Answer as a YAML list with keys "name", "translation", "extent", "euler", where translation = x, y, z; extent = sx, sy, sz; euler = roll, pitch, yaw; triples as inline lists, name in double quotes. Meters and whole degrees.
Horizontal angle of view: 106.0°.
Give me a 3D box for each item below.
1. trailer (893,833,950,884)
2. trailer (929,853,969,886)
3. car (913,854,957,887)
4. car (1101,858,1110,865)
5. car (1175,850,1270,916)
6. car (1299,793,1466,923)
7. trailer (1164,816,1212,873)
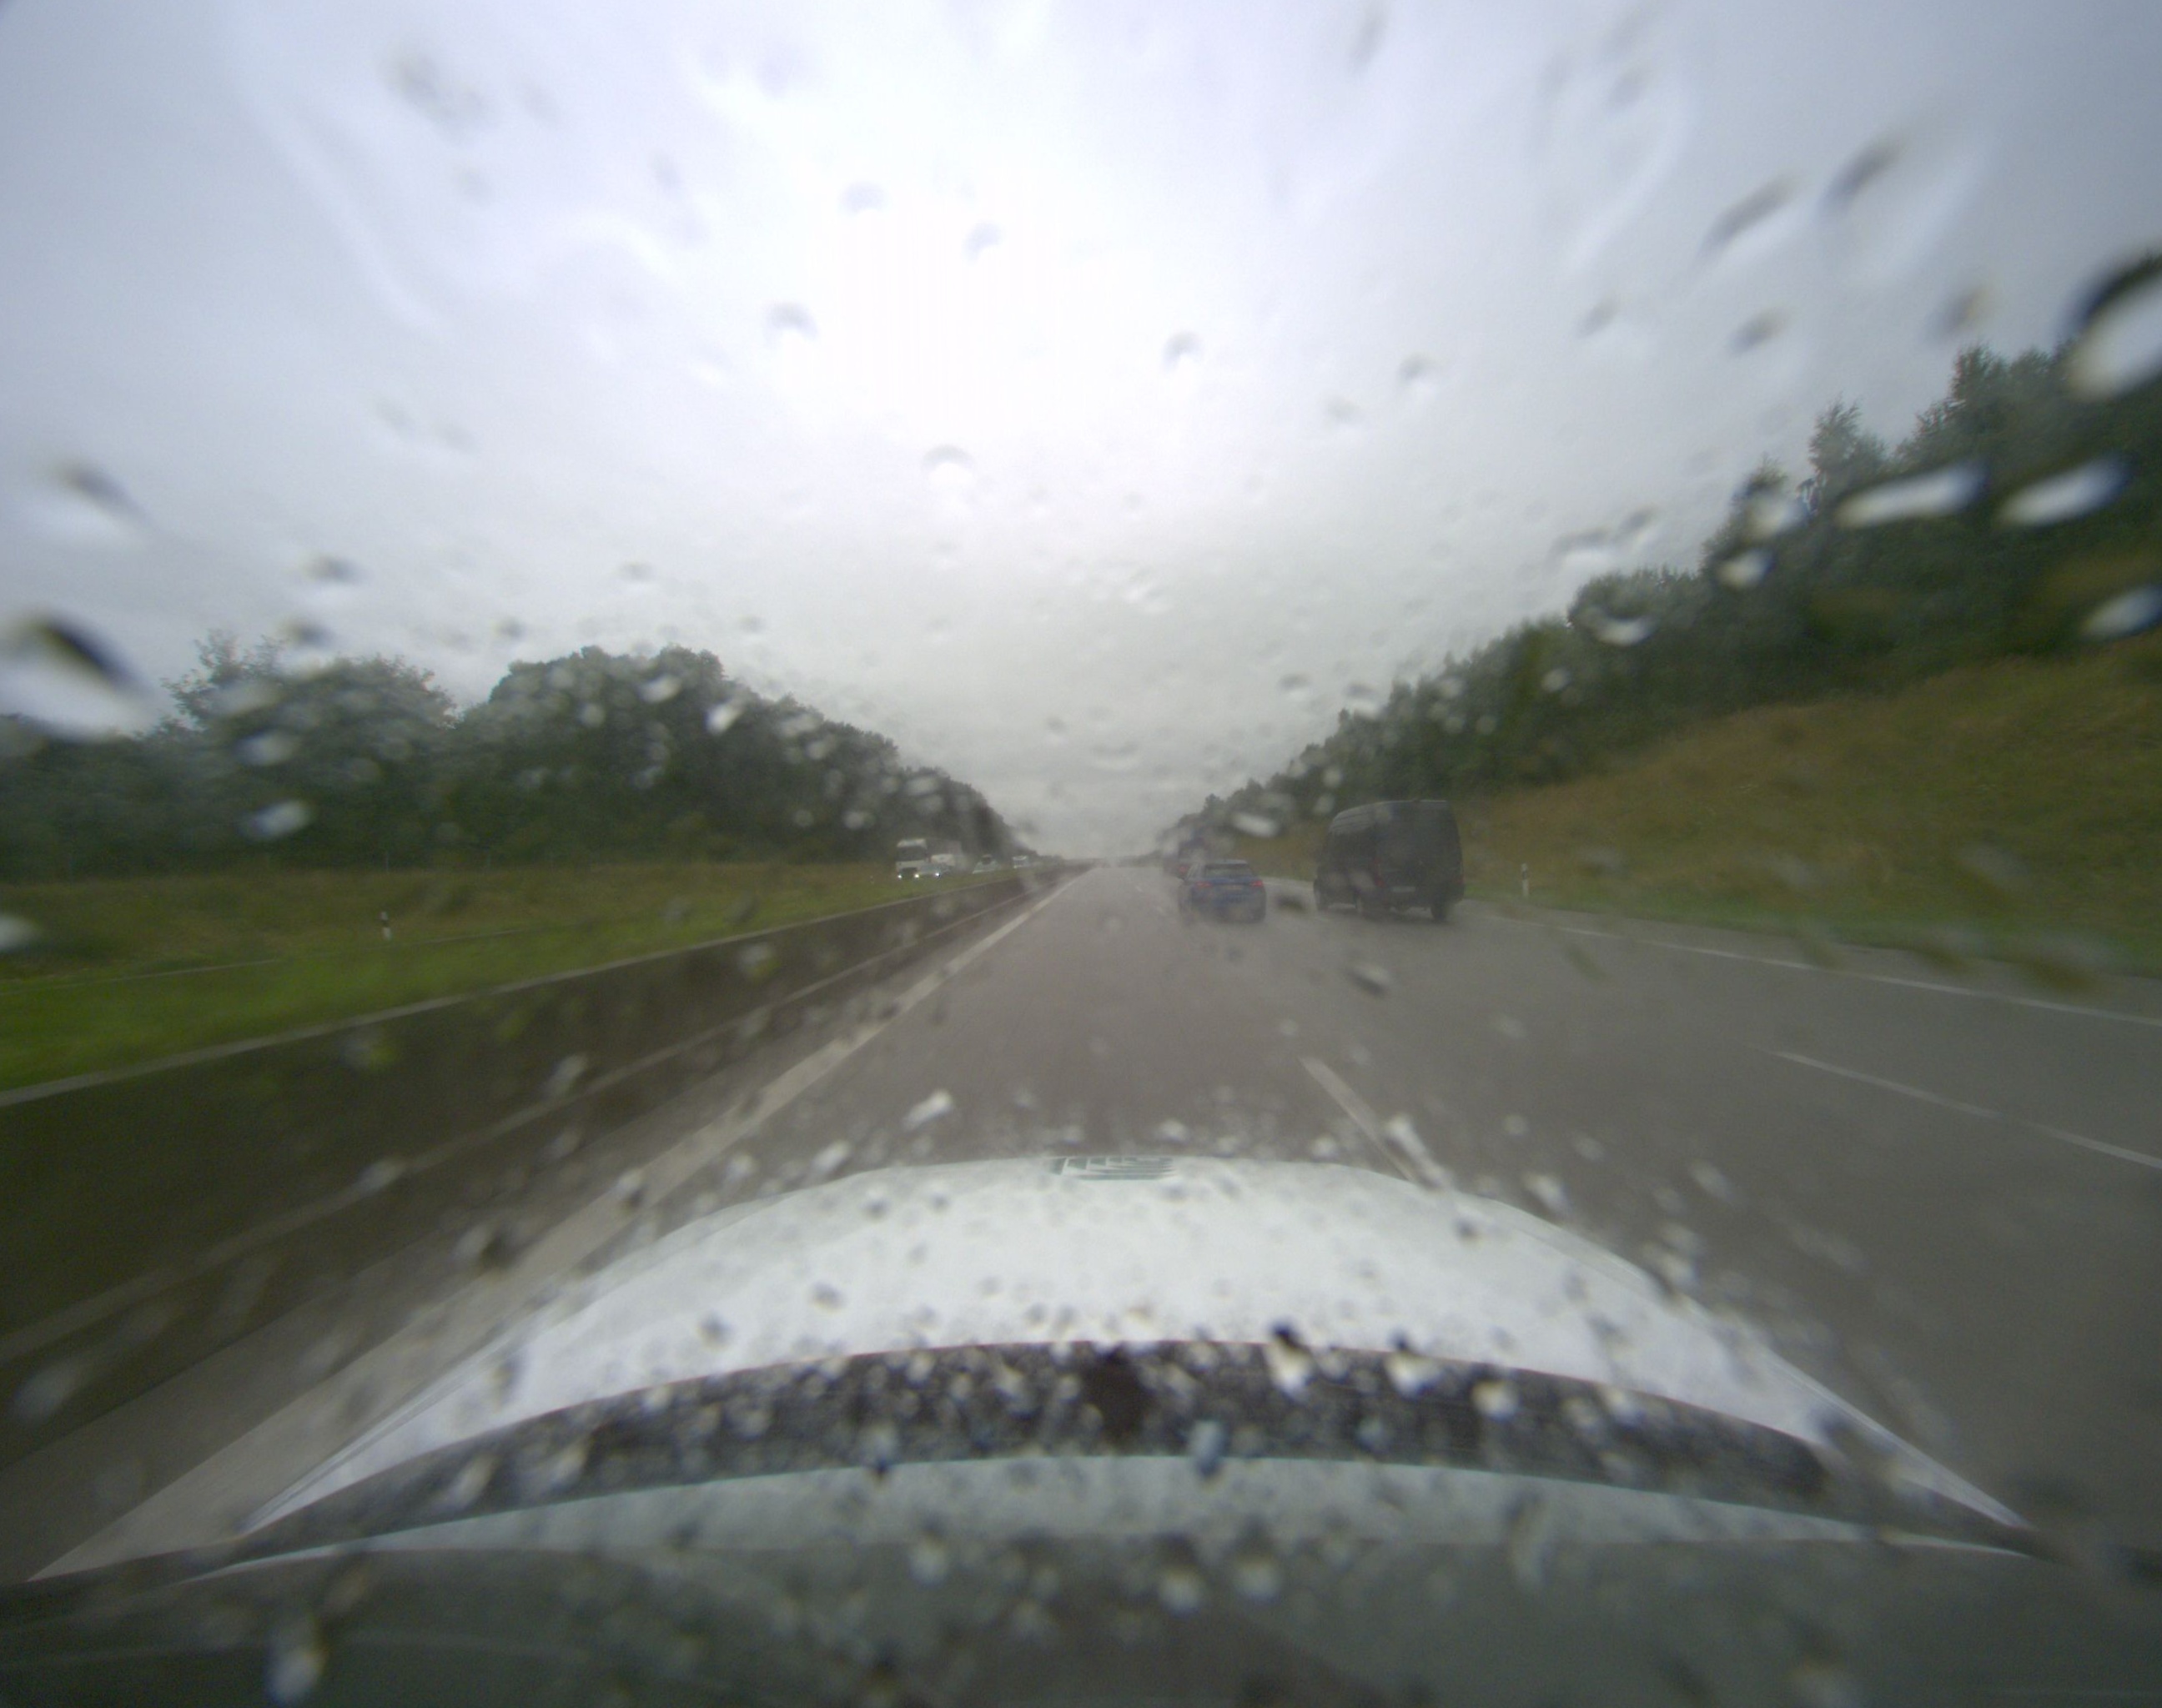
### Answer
- name: "trailer"
  translation: [-14.069, 0.384, 72.800]
  extent: [2.577, 4.046, 10.377]
  euler: [-4, 0, 1]
- name: "trailer"
  translation: [-10.291, 1.190, 63.954]
  extent: [2.031, 2.372, 5.835]
  euler: [-2, 0, 1]
- name: "car"
  translation: [-10.421, 1.145, 58.424]
  extent: [1.986, 2.180, 5.208]
  euler: [-3, 0, 1]
- name: "car"
  translation: [4.956, 1.509, 162.305]
  extent: [1.723, 1.331, 4.431]
  euler: [-1, 0, 1]
- name: "car"
  translation: [3.560, 0.738, 21.299]
  extent: [1.723, 1.459, 4.673]
  euler: [-2, -2, 1]
- name: "car"
  translation: [7.107, 0.092, 20.111]
  extent: [1.933, 2.659, 6.590]
  euler: [0, 0, 2]
- name: "trailer"
  translation: [9.107, -0.774, 71.014]
  extent: [2.696, 4.379, 15.213]
  euler: [-1, 0, 2]
